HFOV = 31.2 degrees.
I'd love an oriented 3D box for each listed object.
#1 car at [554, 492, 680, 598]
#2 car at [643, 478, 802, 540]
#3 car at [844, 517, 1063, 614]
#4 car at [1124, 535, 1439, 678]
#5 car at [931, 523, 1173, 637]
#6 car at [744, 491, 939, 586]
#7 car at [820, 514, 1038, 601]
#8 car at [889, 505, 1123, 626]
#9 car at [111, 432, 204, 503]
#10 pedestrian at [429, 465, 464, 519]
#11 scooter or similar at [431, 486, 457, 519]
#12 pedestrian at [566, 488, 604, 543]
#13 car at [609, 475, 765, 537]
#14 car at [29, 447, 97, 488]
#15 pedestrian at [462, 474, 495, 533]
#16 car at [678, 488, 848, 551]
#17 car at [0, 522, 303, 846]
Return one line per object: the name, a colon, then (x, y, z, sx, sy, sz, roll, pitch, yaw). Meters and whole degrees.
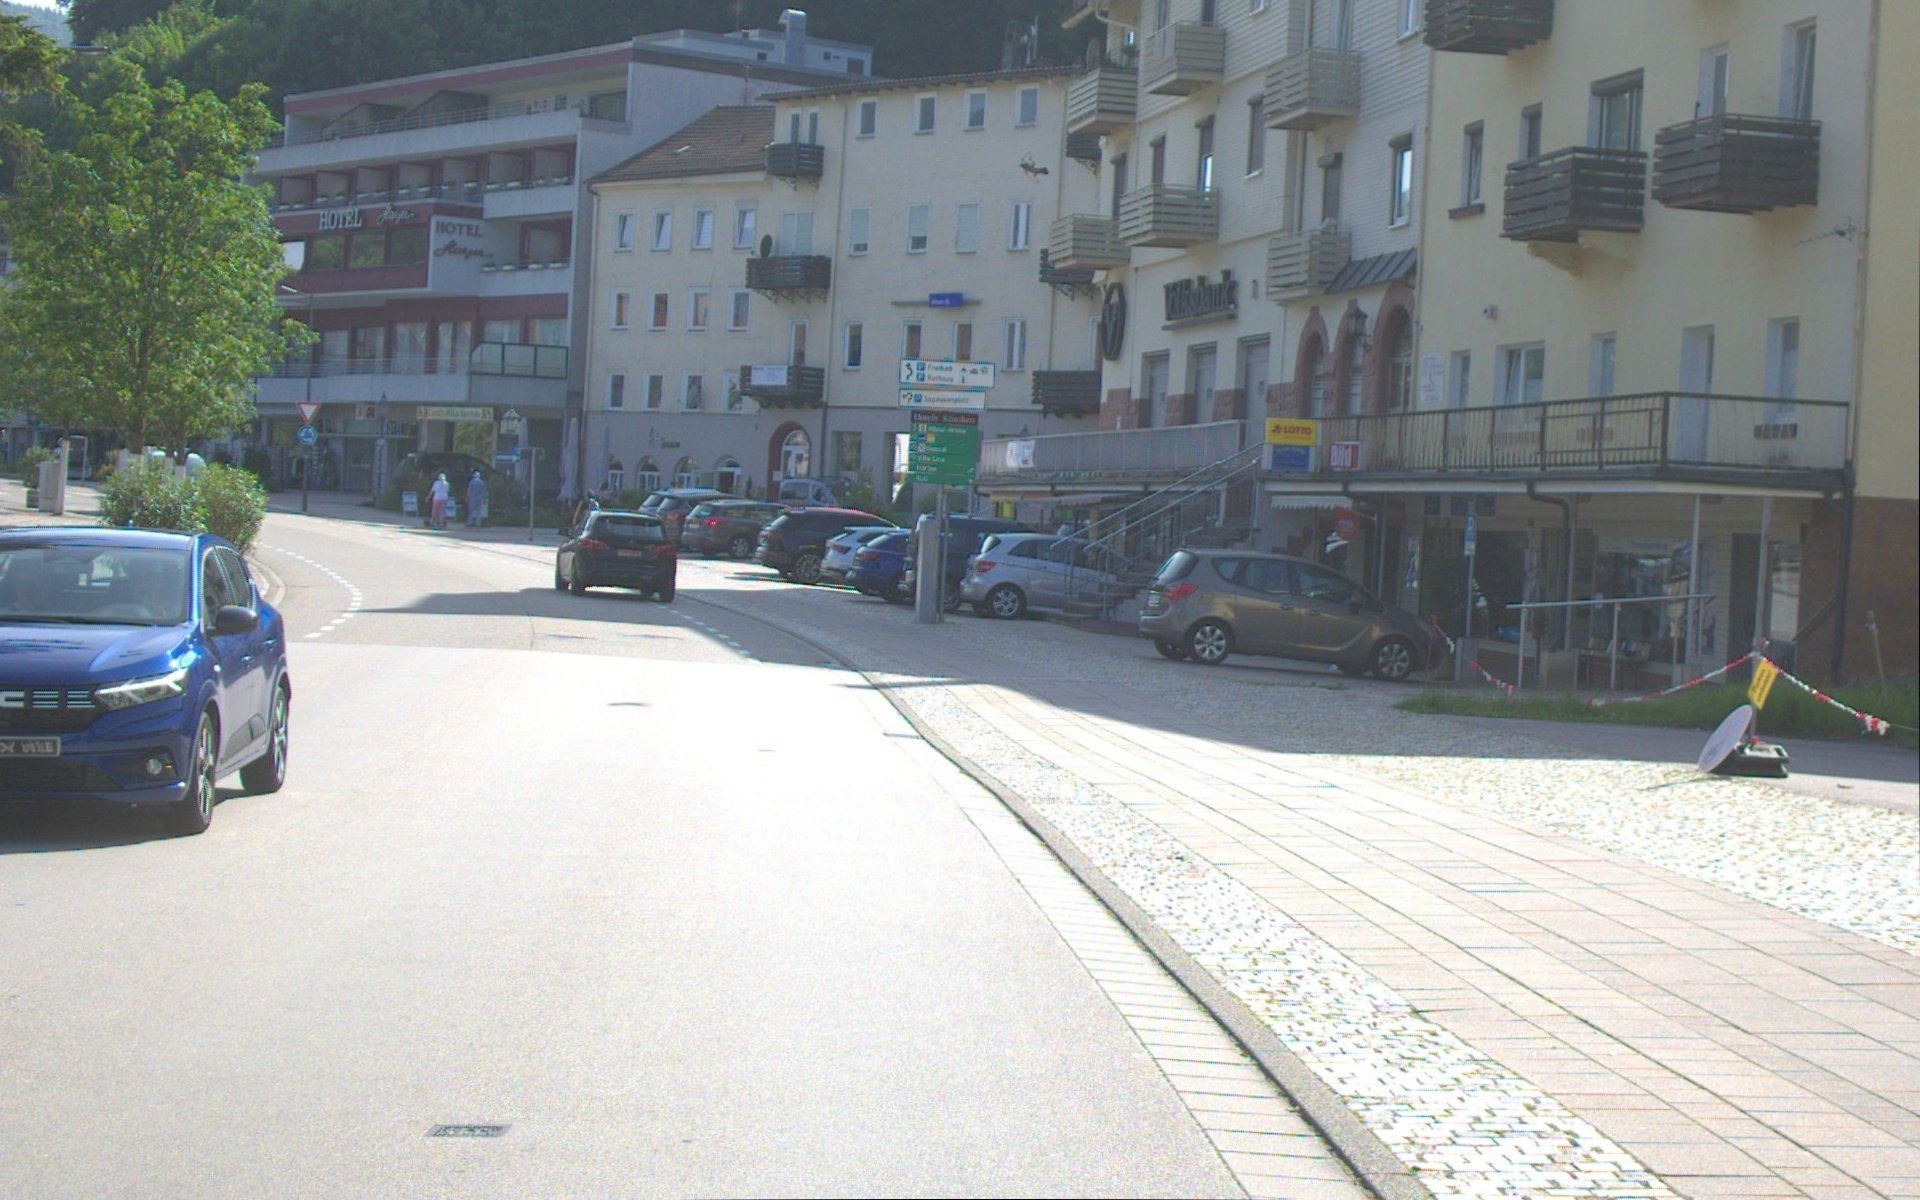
car: (-6.090, -0.999, 60.770, 1.727, 1.569, 3.754, 4, 3, -12)
car: (-6.394, -2.457, 92.657, 3.860, 1.544, 1.773, 0, 4, -29)
car: (-0.146, -0.679, 66.437, 3.908, 1.456, 1.736, 6, 1, -9)
car: (4.416, 0.078, 47.510, 3.858, 1.549, 1.761, 6, 1, -12)
car: (1.617, -0.358, 61.098, 3.908, 1.583, 1.775, 6, 2, -9)
car: (-2.695, -1.400, 77.660, 4.083, 1.660, 1.773, 6, 1, -9)
car: (-0.687, -0.901, 73.001, 4.355, 1.456, 1.773, 5, 0, -7)
car: (0.831, -0.652, 63.766, 3.908, 1.798, 1.858, 6, 0, -9)
car: (-23.404, -3.868, 100.134, 1.854, 1.946, 5.019, 2, 2, -22)
pedestrian: (-15.685, -3.307, 105.049, 0.757, 1.588, 0.628, 3, 2, -32)
scooter or similar: (-15.795, -2.981, 105.200, 0.596, 0.947, 0.474, 3, 2, -32)
pedestrian: (-9.904, -2.235, 90.854, 0.735, 1.437, 0.633, 0, 3, -39)
car: (-7.548, -2.591, 95.038, 3.860, 1.607, 1.773, 0, 4, -29)
car: (-40.369, -5.973, 154.684, 1.676, 1.615, 4.000, 3, 2, -34)
pedestrian: (-14.724, -2.949, 105.042, 0.669, 1.722, 0.708, 3, 2, -32)
car: (-5.112, -2.088, 89.244, 4.009, 1.511, 1.773, 0, 4, -29)
car: (-4.606, 0.346, 18.010, 1.741, 1.457, 4.188, 1, 1, -3)
